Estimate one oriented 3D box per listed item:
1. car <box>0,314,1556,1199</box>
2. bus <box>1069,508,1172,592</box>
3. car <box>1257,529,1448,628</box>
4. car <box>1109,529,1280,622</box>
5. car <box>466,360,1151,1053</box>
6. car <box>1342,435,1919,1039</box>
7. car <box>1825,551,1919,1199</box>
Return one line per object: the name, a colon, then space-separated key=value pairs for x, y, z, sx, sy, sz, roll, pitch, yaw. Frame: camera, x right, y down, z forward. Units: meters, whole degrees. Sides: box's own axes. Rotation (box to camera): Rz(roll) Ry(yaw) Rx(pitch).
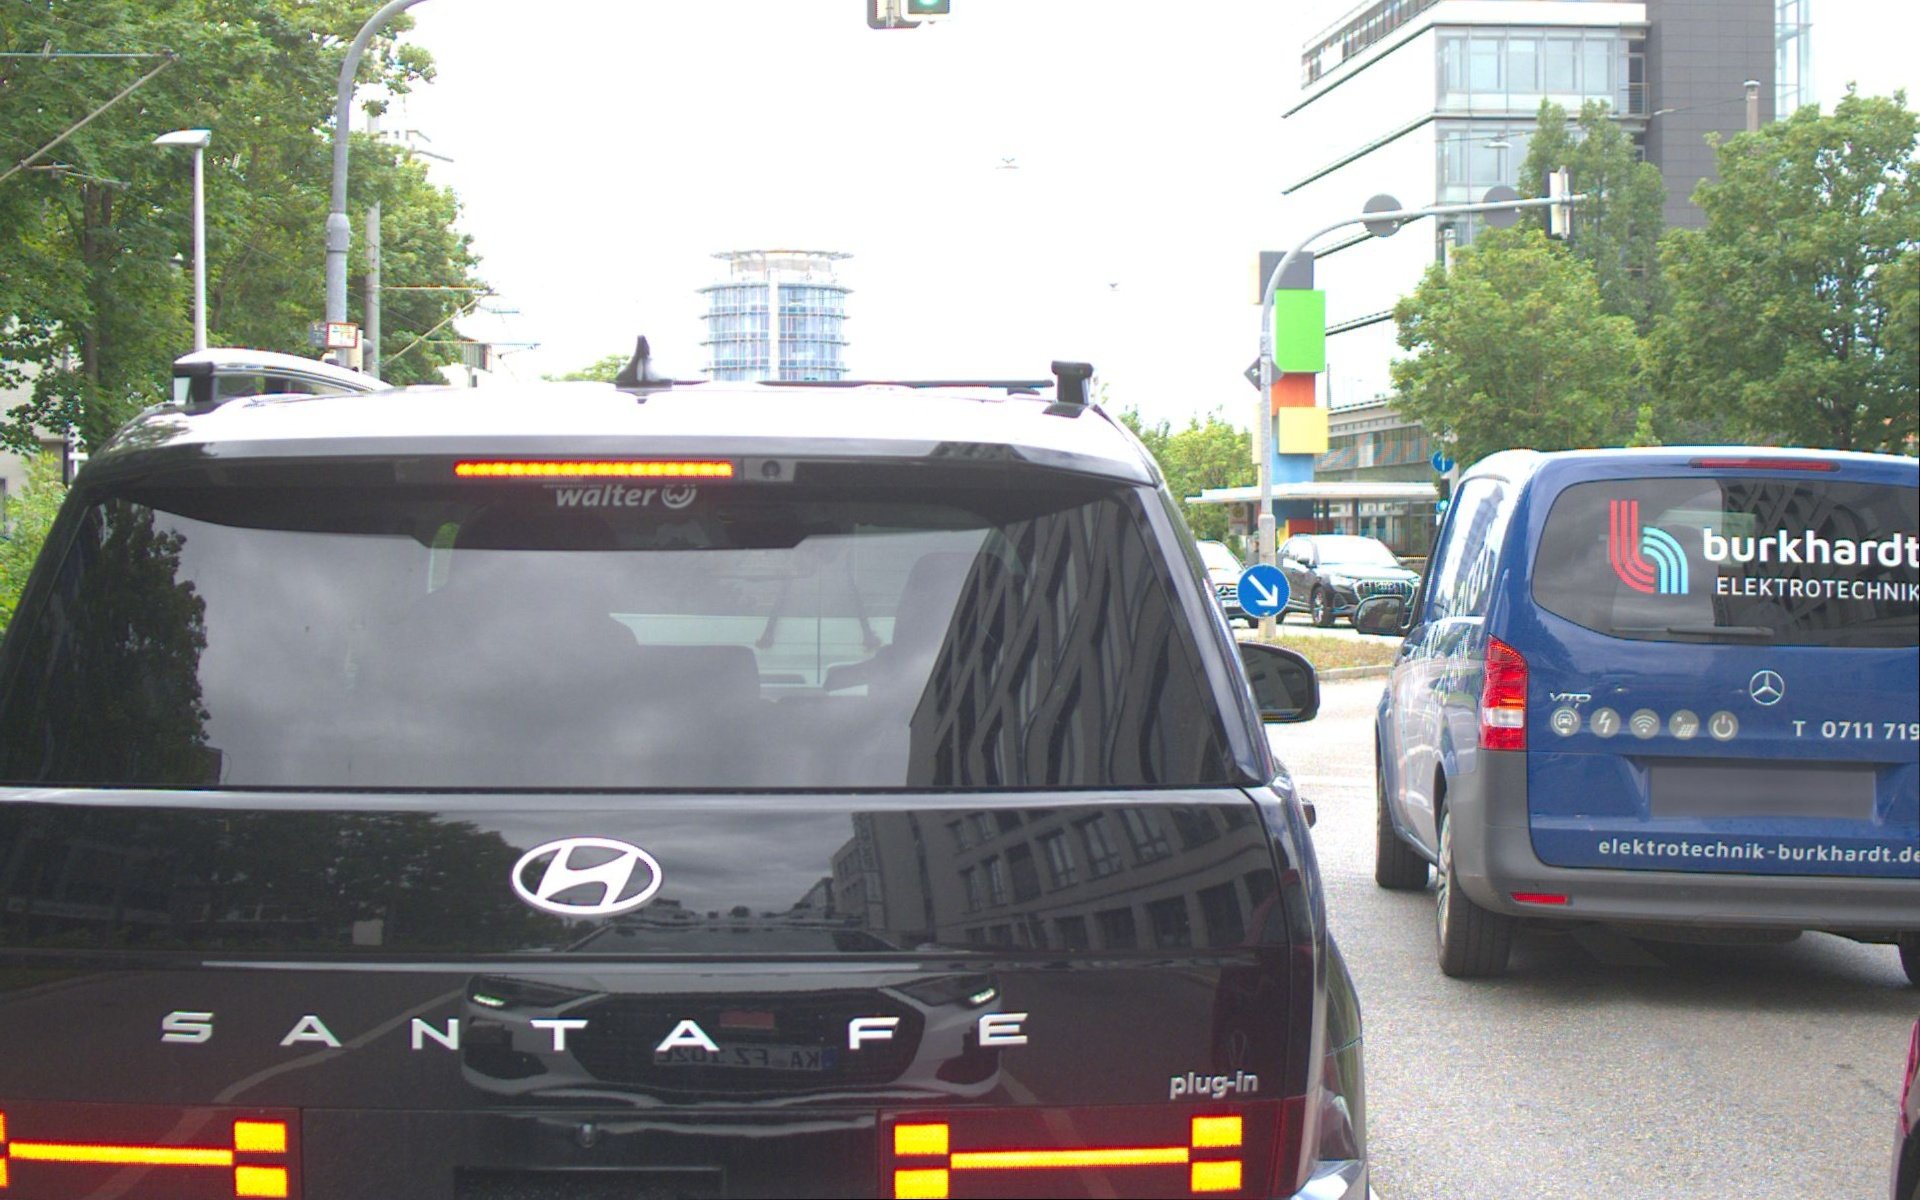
car: x=-0.382 y=0.540 z=5.790 sx=1.902 sy=1.725 sz=4.446 roll=2 pitch=1 yaw=-1
bus: x=6.151 y=-1.912 z=133.227 sx=2.966 sy=3.106 sz=9.245 roll=-1 pitch=0 yaw=-4
car: x=6.790 y=-0.408 z=59.982 sx=1.887 sy=1.559 sz=4.397 roll=1 pitch=2 yaw=-13
car: x=3.953 y=-0.440 z=58.679 sx=1.782 sy=1.421 sz=4.397 roll=1 pitch=2 yaw=-11
car: x=-0.321 y=0.262 z=12.339 sx=1.902 sy=1.962 sz=4.635 roll=2 pitch=1 yaw=4
car: x=2.607 y=0.389 z=13.122 sx=1.902 sy=1.852 sz=4.709 roll=2 pitch=1 yaw=2
car: x=2.385 y=0.714 z=3.885 sx=1.744 sy=1.476 sz=3.719 roll=1 pitch=1 yaw=-2
